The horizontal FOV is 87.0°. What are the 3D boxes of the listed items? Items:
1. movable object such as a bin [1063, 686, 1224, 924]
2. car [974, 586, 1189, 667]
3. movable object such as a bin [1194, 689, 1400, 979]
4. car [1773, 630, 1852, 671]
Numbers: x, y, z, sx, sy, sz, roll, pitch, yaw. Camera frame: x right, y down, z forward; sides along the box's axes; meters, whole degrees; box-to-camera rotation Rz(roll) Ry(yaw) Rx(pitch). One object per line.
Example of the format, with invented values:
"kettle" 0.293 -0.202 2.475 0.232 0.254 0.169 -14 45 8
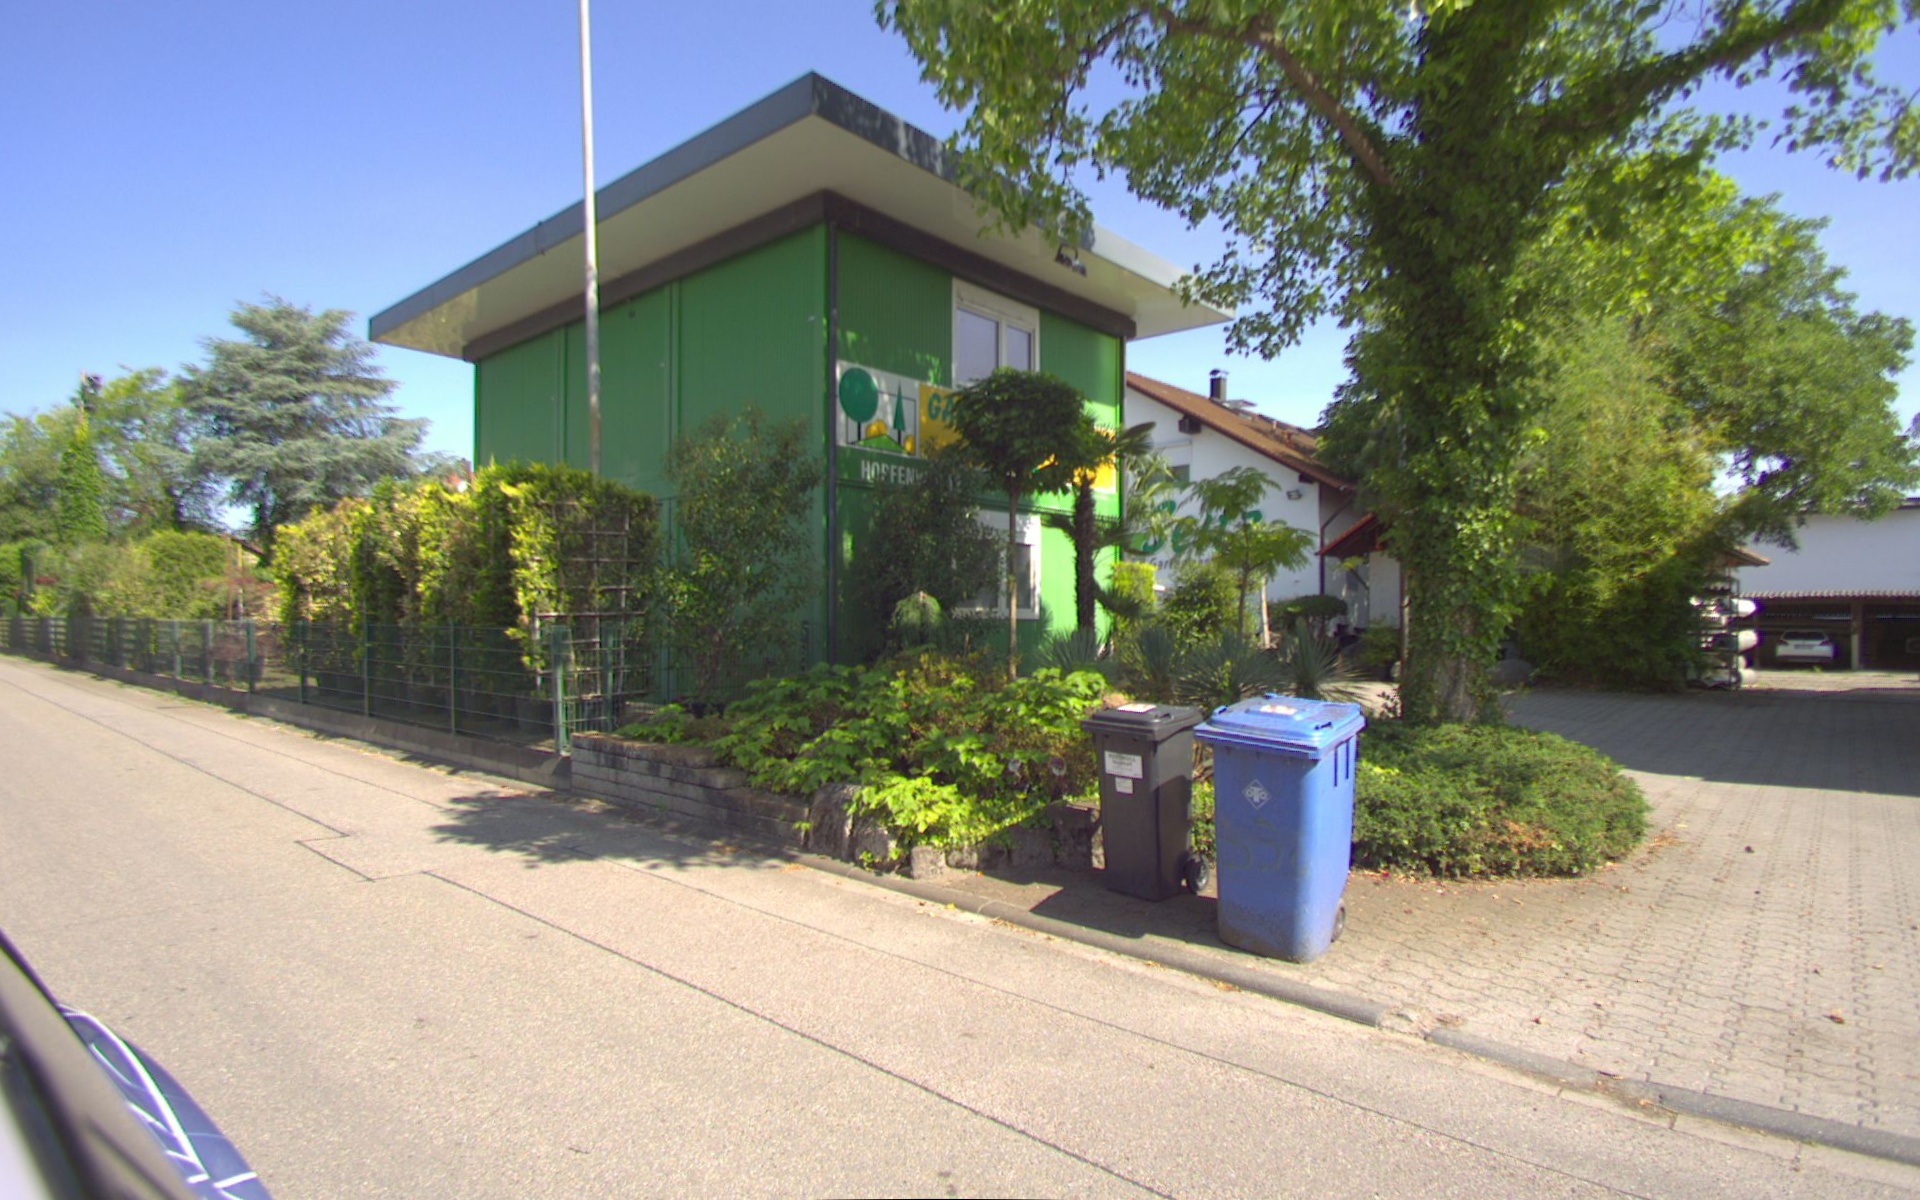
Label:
"movable object such as a bin" 0.923 0.984 5.086 0.568 1.032 0.576 -1 0 42
"car" 2.380 0.470 20.444 3.999 1.458 1.837 0 1 42
"movable object such as a bin" 1.493 0.963 4.464 0.612 1.062 0.723 -1 0 42
"car" 32.180 1.851 38.163 3.940 1.453 1.904 2 -2 -44
